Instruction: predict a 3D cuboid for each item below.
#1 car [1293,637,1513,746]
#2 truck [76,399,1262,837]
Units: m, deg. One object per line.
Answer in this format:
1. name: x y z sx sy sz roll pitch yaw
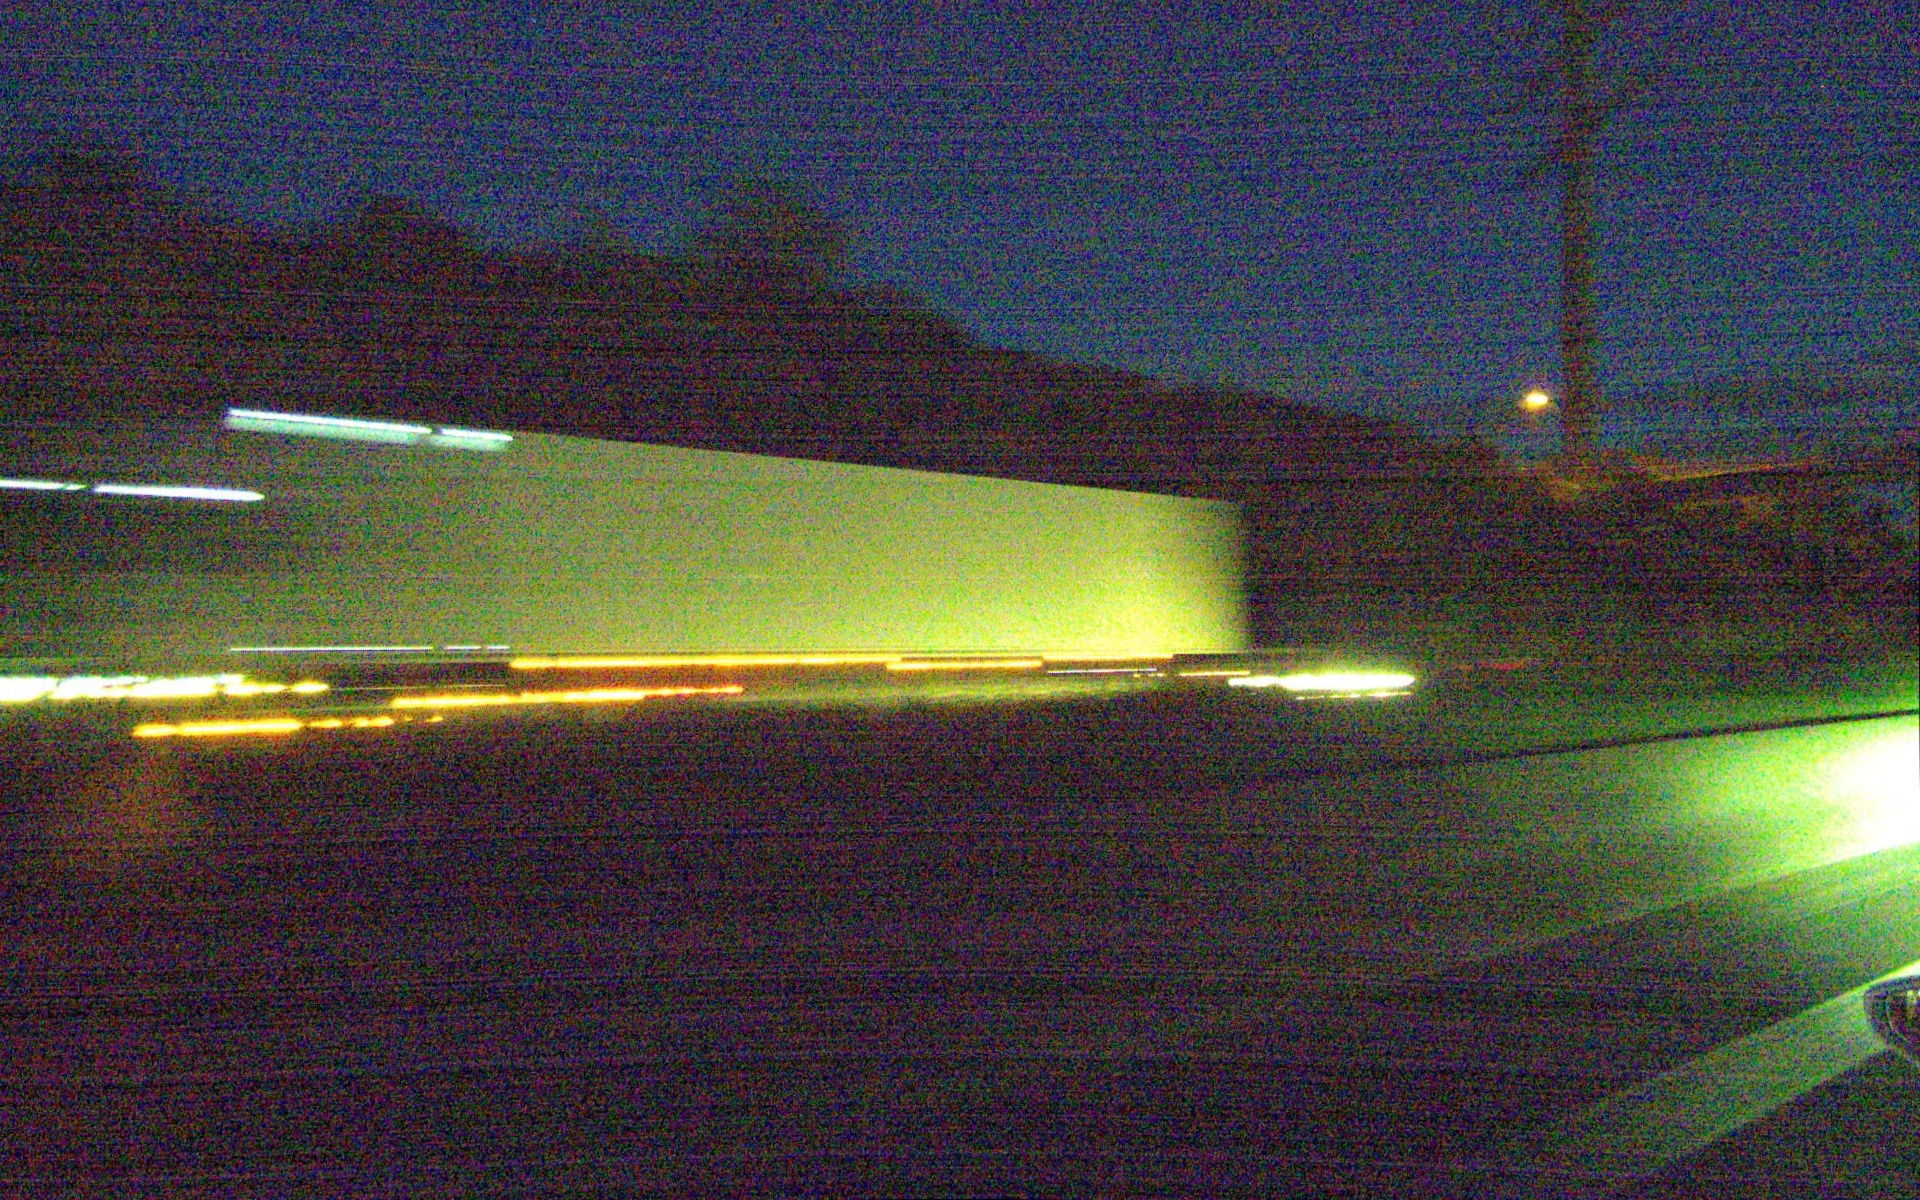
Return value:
1. car: 7.966 1.542 17.970 3.954 1.609 1.626 0 1 -31
2. truck: -2.491 0.134 16.188 17.231 4.549 3.231 0 1 -30
